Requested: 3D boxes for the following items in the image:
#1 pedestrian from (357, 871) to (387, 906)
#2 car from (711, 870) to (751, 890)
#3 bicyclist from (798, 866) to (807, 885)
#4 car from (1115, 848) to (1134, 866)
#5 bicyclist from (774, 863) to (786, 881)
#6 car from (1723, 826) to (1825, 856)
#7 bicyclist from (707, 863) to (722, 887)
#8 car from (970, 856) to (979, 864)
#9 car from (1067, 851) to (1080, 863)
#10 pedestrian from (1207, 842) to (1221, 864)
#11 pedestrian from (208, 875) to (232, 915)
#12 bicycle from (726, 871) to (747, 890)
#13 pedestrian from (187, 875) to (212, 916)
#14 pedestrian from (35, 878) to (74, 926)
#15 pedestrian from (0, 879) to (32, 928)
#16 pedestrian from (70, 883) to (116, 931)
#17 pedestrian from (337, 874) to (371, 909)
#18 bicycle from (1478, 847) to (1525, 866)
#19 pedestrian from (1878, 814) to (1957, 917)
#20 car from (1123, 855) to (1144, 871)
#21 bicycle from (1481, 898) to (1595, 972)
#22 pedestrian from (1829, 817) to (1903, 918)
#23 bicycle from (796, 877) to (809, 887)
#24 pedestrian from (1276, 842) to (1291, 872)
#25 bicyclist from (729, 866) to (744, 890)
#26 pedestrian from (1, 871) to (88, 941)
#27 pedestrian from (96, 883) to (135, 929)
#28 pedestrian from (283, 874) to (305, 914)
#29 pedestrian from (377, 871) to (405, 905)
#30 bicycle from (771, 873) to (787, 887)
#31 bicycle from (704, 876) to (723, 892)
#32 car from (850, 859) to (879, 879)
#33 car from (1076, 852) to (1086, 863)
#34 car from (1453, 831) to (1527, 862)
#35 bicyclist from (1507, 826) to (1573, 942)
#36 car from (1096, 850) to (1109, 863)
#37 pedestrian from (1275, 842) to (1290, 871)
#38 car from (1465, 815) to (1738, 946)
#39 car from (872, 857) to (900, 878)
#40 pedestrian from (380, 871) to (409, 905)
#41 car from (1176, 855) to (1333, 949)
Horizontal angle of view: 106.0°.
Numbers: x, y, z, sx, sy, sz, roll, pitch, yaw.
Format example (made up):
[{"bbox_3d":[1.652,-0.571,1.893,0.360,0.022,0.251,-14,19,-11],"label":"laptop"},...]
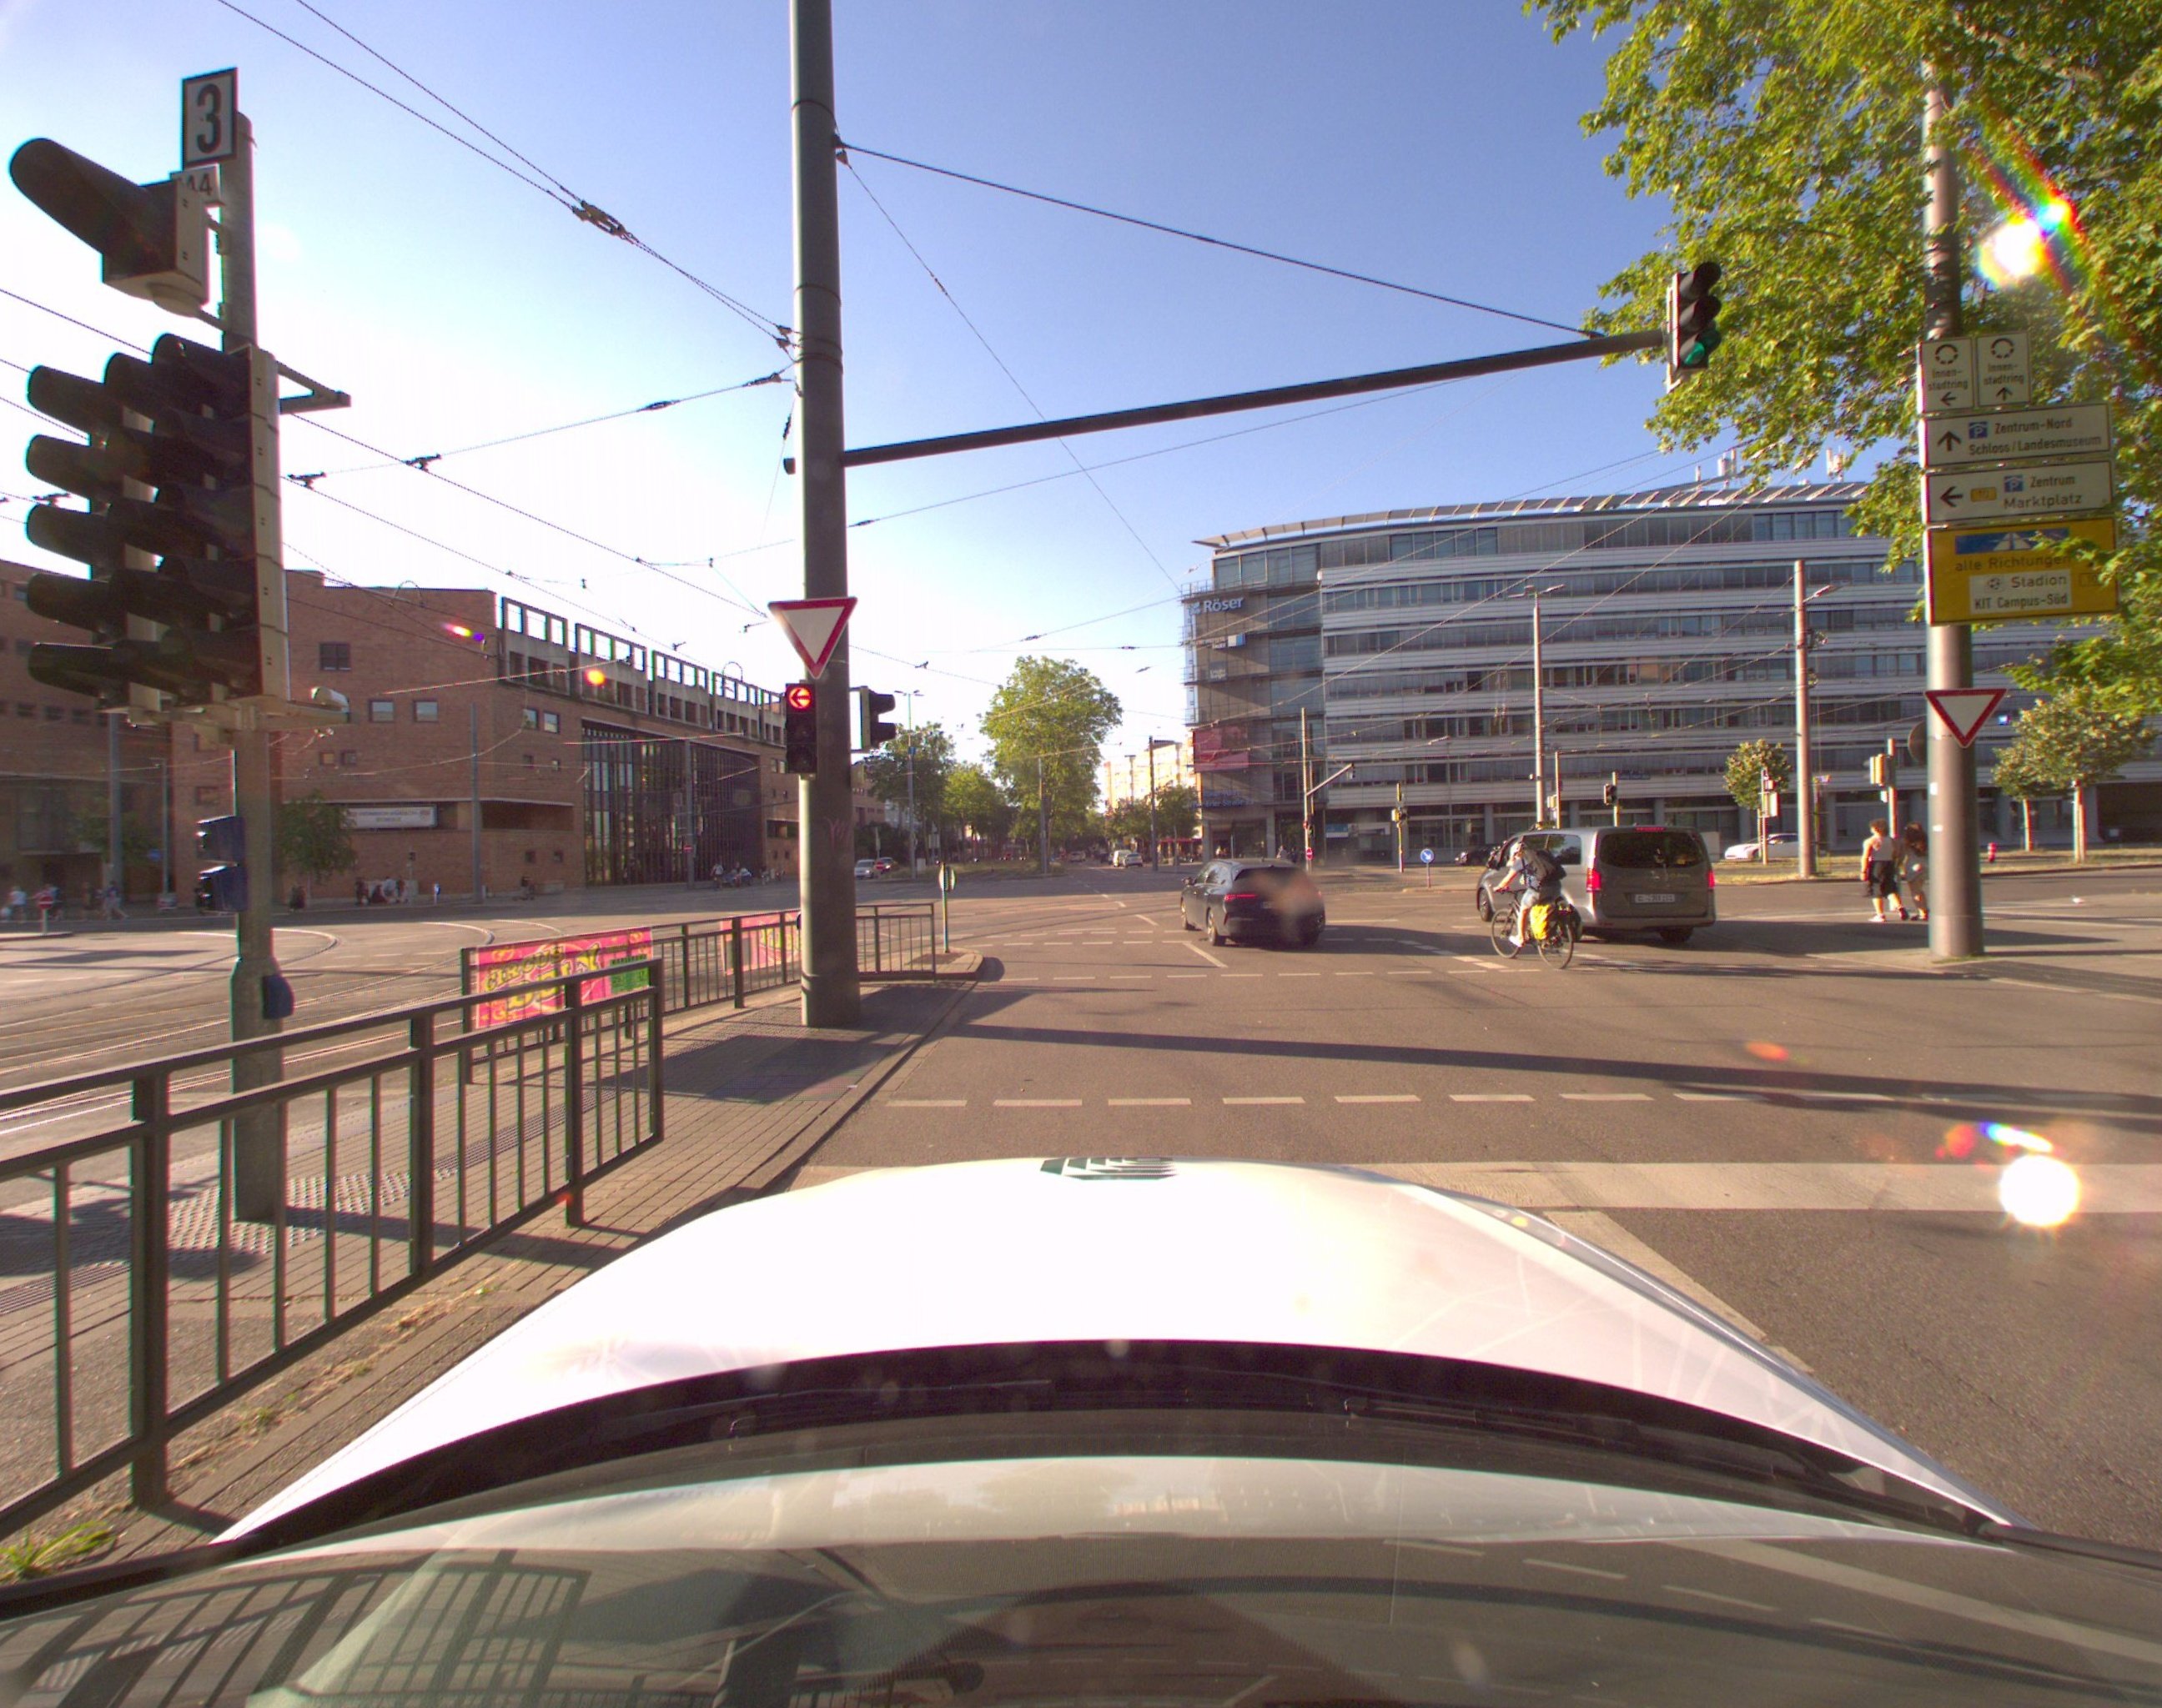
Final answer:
[{"bbox_3d":[-43.389,2.107,49.840,1.003,2.052,0.850,-2,0,-1],"label":"pedestrian"},{"bbox_3d":[-27.011,1.961,62.954,1.577,1.376,3.711,-2,0,-3],"label":"car"},{"bbox_3d":[-24.489,1.881,71.509,0.585,1.625,0.514,-2,0,-3],"label":"bicyclist"},{"bbox_3d":[4.749,0.341,89.687,1.986,2.014,4.001,0,-1,2],"label":"car"},{"bbox_3d":[-24.392,1.451,66.047,0.652,1.474,1.031,-1,-1,-3],"label":"bicyclist"},{"bbox_3d":[38.350,-0.715,45.166,3.968,1.596,1.884,0,-1,5],"label":"car"},{"bbox_3d":[-24.634,1.401,54.736,0.660,1.574,0.756,-2,0,-8],"label":"bicyclist"},{"bbox_3d":[-21.817,1.231,166.938,1.673,1.607,3.994,0,-1,-4],"label":"car"},{"bbox_3d":[-1.265,0.560,143.618,1.985,2.014,4.003,0,-1,3],"label":"car"},{"bbox_3d":[13.175,-0.078,80.484,1.305,2.190,1.173,-1,-1,8],"label":"pedestrian"},{"bbox_3d":[-43.770,2.065,41.399,0.615,2.013,0.726,-2,0,-28],"label":"pedestrian"},{"bbox_3d":[-23.485,1.808,55.572,0.684,1.142,2.106,-2,2,-7],"label":"bicycle"},{"bbox_3d":[-44.499,2.077,41.123,0.615,2.013,0.726,-2,0,-28],"label":"pedestrian"},{"bbox_3d":[-44.564,2.094,35.366,0.782,2.013,0.651,-2,0,-1],"label":"pedestrian"},{"bbox_3d":[-45.260,2.098,34.509,0.728,2.013,0.614,-2,0,-1],"label":"pedestrian"},{"bbox_3d":[-42.823,2.278,35.310,0.782,1.983,0.927,-2,0,0],"label":"pedestrian"},{"bbox_3d":[-43.300,2.202,48.498,1.155,2.013,0.910,-2,0,-2],"label":"pedestrian"},{"bbox_3d":[25.312,0.144,49.040,2.397,1.022,0.638,-2,0,6],"label":"bicycle"},{"bbox_3d":[14.683,0.202,14.318,0.677,1.759,0.746,-2,0,22],"label":"pedestrian"},{"bbox_3d":[5.323,0.908,82.799,2.022,1.596,4.001,0,-1,2],"label":"car"},{"bbox_3d":[5.926,1.021,10.677,0.489,0.788,1.862,-1,0,2],"label":"bicycle"},{"bbox_3d":[14.028,0.239,14.575,0.671,1.759,0.746,-2,0,22],"label":"pedestrian"},{"bbox_3d":[-24.472,2.434,71.582,0.588,0.771,1.966,-2,0,-2],"label":"bicycle"},{"bbox_3d":[13.631,0.223,54.816,0.866,2.014,0.794,0,-1,1],"label":"pedestrian"},{"bbox_3d":[-23.474,1.625,55.504,0.681,1.560,0.757,-2,0,-8],"label":"bicyclist"},{"bbox_3d":[-31.096,1.541,24.453,1.029,2.014,1.208,0,-1,1],"label":"pedestrian"},{"bbox_3d":[-42.860,2.285,36.161,0.782,1.983,0.751,-2,0,-1],"label":"pedestrian"},{"bbox_3d":[-40.566,2.046,41.974,0.615,2.013,0.726,-2,0,-29],"label":"pedestrian"},{"bbox_3d":[-43.266,2.109,51.066,1.003,2.052,0.850,-2,0,-1],"label":"pedestrian"},{"bbox_3d":[-24.345,2.096,65.735,0.650,1.050,2.010,-1,0,-3],"label":"bicycle"},{"bbox_3d":[-24.603,1.988,54.552,0.652,0.998,1.896,-2,0,-8],"label":"bicycle"},{"bbox_3d":[-18.011,1.231,67.876,1.618,1.577,3.994,-2,0,-4],"label":"car"},{"bbox_3d":[0.001,0.706,160.804,1.987,2.014,4.000,0,-1,0],"label":"car"},{"bbox_3d":[27.155,-0.473,54.170,3.972,2.014,2.001,0,-1,2],"label":"car"},{"bbox_3d":[5.901,0.377,10.492,0.485,1.439,0.616,-1,0,1],"label":"bicyclist"},{"bbox_3d":[3.297,0.354,126.758,1.986,2.014,4.001,0,-1,2],"label":"car"},{"bbox_3d":[13.960,0.195,56.343,0.846,2.014,0.708,0,-1,1],"label":"pedestrian"},{"bbox_3d":[8.818,0.376,14.449,1.992,1.896,4.888,-1,0,4],"label":"car"},{"bbox_3d":[-18.068,1.228,75.632,1.819,1.790,3.994,-2,0,-4],"label":"car"},{"bbox_3d":[-42.266,2.092,50.165,1.003,2.052,0.850,-2,0,-1],"label":"pedestrian"},{"bbox_3d":[2.921,0.742,14.654,1.759,1.404,4.293,-1,0,-2],"label":"car"}]
